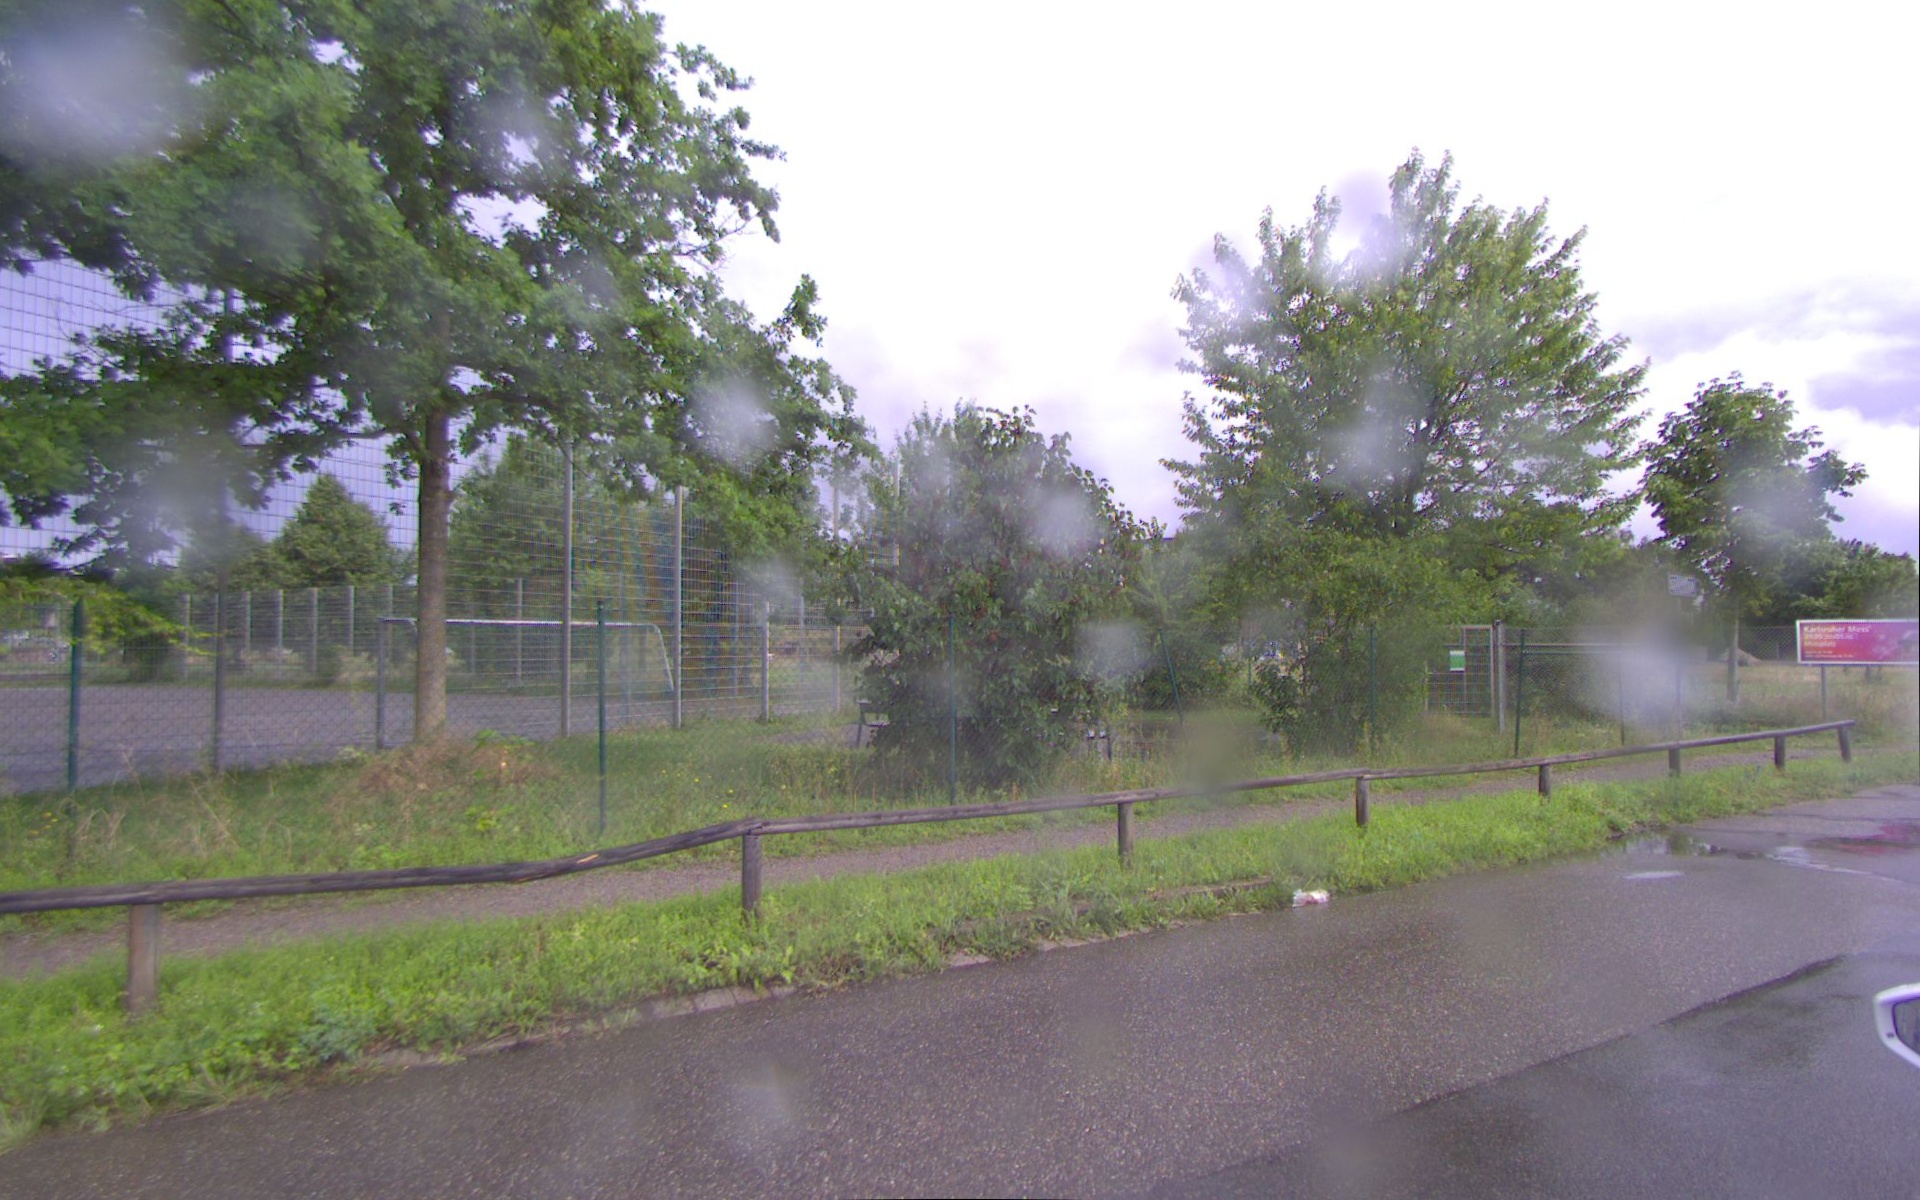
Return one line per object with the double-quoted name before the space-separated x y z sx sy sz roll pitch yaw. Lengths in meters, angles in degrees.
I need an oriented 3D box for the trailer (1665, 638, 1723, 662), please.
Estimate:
"trailer" 67.128 4.545 91.911 4.038 2.116 1.842 0 -2 28
